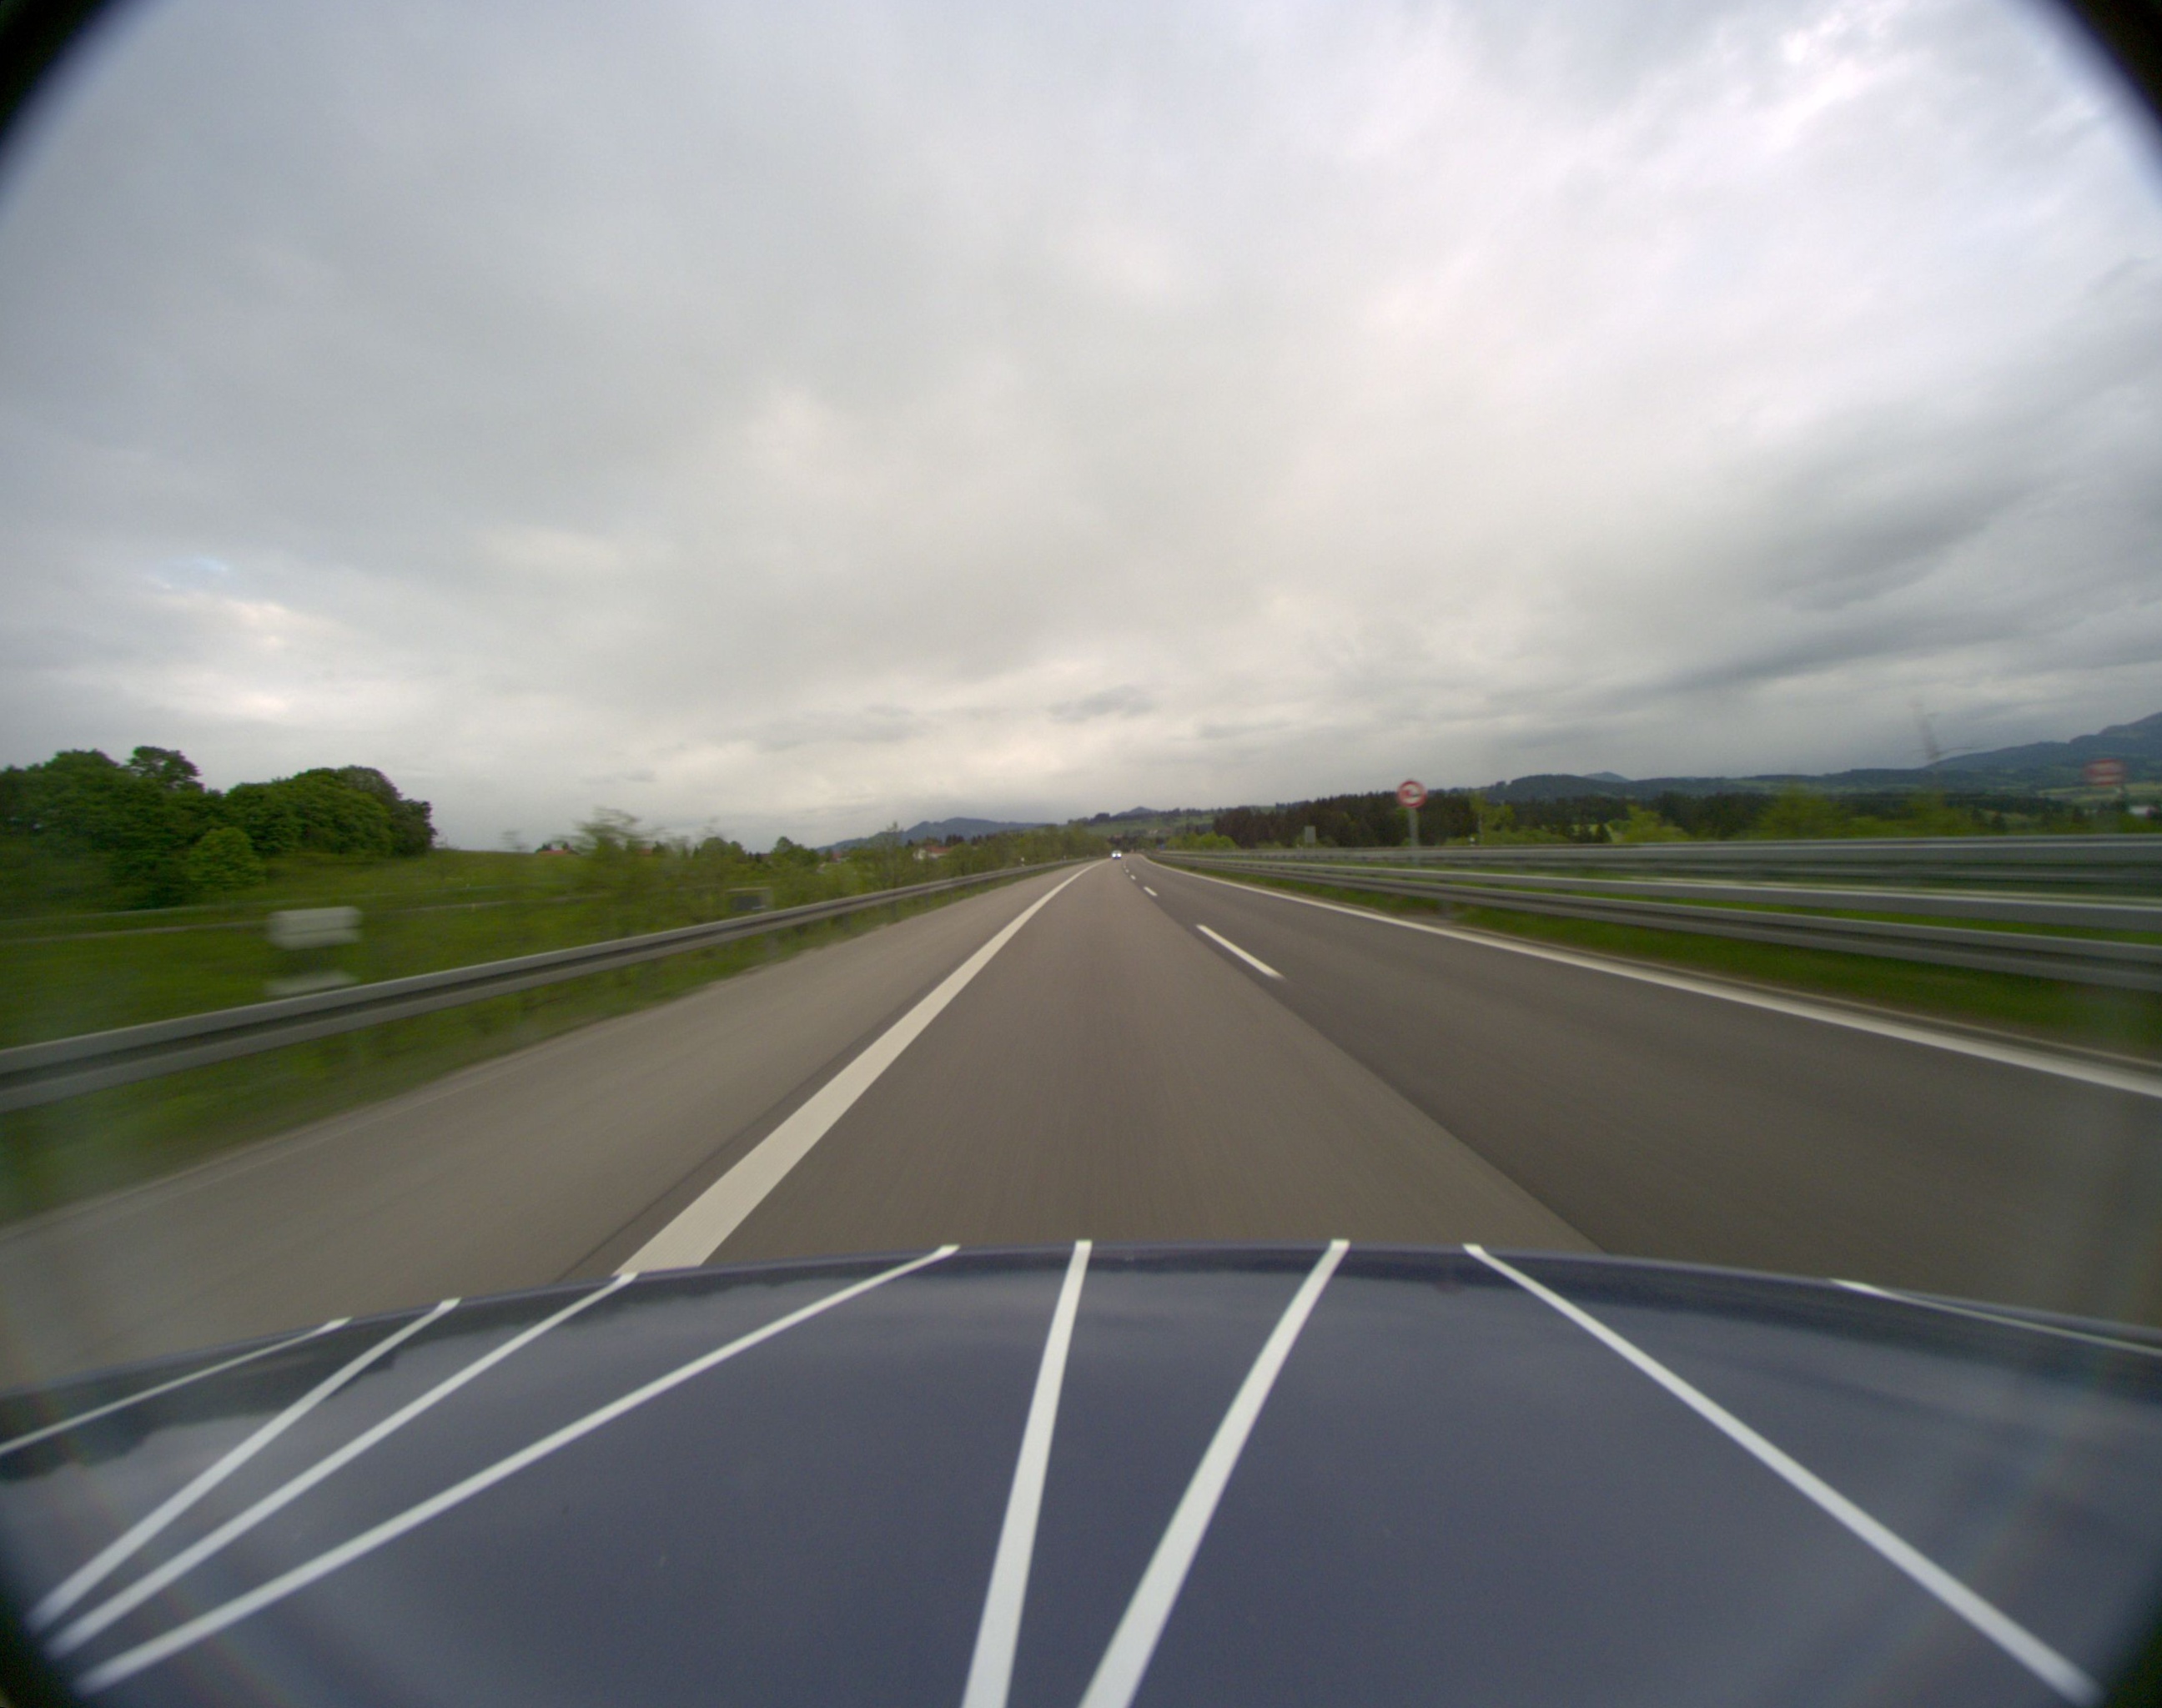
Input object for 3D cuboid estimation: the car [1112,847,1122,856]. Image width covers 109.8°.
[{"bbox_3d":[7.901,-0.523,167.403,2.020,1.899,4.222,-2,0,4],"label":"car"}]
